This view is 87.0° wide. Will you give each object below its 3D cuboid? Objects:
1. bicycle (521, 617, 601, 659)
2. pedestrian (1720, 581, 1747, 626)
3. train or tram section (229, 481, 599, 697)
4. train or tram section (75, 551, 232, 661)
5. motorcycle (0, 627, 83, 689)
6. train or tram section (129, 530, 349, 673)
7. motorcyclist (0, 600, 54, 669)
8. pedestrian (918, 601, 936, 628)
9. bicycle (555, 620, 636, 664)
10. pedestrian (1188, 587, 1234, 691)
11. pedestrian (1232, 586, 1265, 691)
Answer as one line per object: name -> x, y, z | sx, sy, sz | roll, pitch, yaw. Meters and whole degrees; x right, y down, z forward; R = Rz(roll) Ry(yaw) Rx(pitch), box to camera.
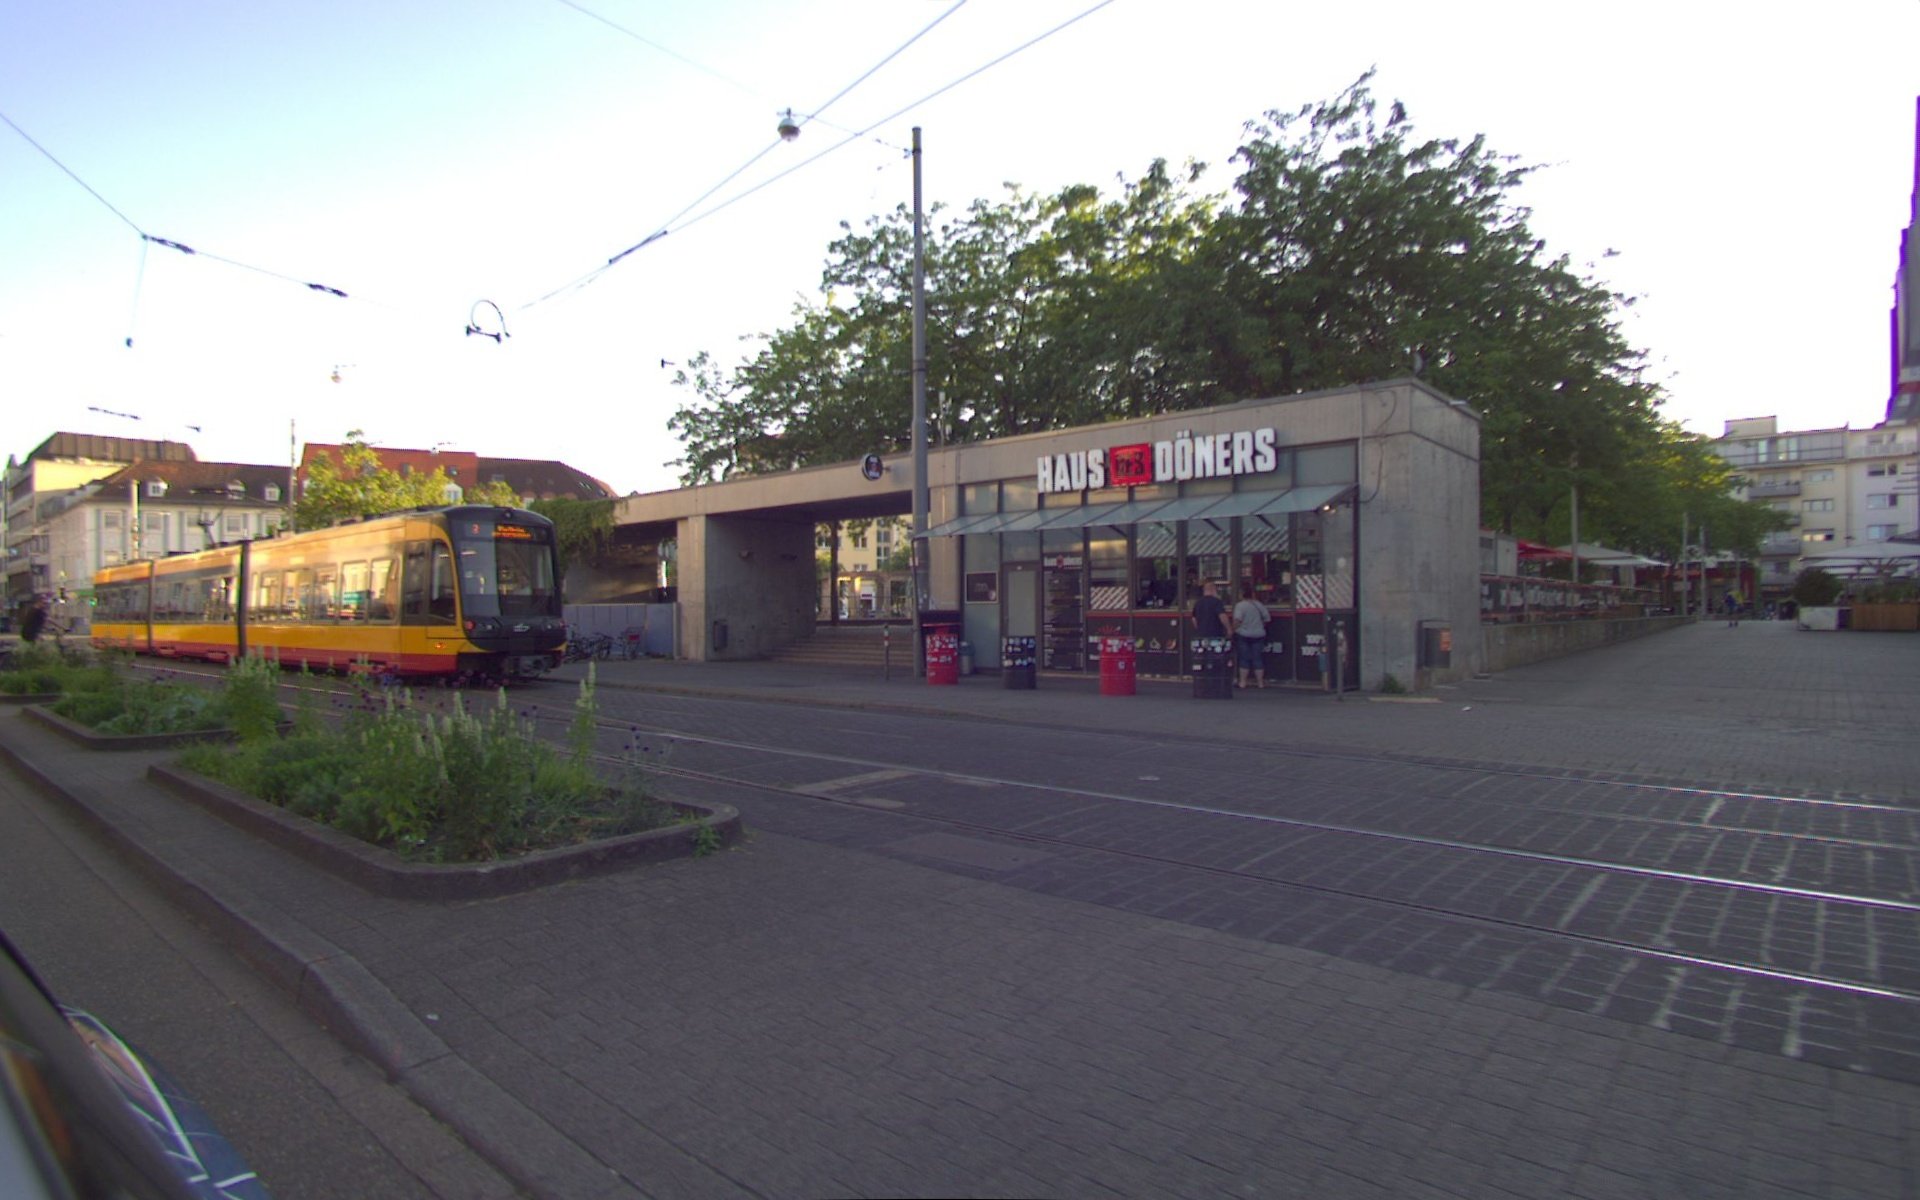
bicycle -> -11.734, 1.093, 29.779 | 0.692, 1.168, 2.103 | -1, -1, 42
pedestrian -> 30.417, 0.133, 39.818 | 0.799, 1.714, 0.789 | -1, 1, 40
train or tram section -> -12.985, -0.065, 22.929 | 13.474, 3.714, 2.865 | -1, -1, 41
train or tram section -> -31.210, 0.292, 38.932 | 10.779, 3.714, 2.865 | -1, -1, 41
motorcycle -> -20.239, 1.236, 21.879 | 0.801, 1.247, 1.765 | -1, 1, 24
train or tram section -> -22.663, 0.145, 31.365 | 11.977, 3.714, 2.865 | -1, -1, 41
motorcyclist -> -20.261, 0.733, 21.837 | 0.795, 1.450, 0.793 | -1, 0, 24
pedestrian -> -1.536, 0.694, 47.330 | 0.626, 1.267, 0.579 | -1, -3, 38
bicycle -> -10.372, 1.168, 28.871 | 0.692, 1.168, 2.103 | -1, -1, 42
pedestrian -> 4.104, 0.620, 16.532 | 0.551, 1.665, 0.556 | -1, 0, 35
pedestrian -> 4.656, 0.614, 16.321 | 0.400, 1.665, 0.389 | -1, 0, 34
